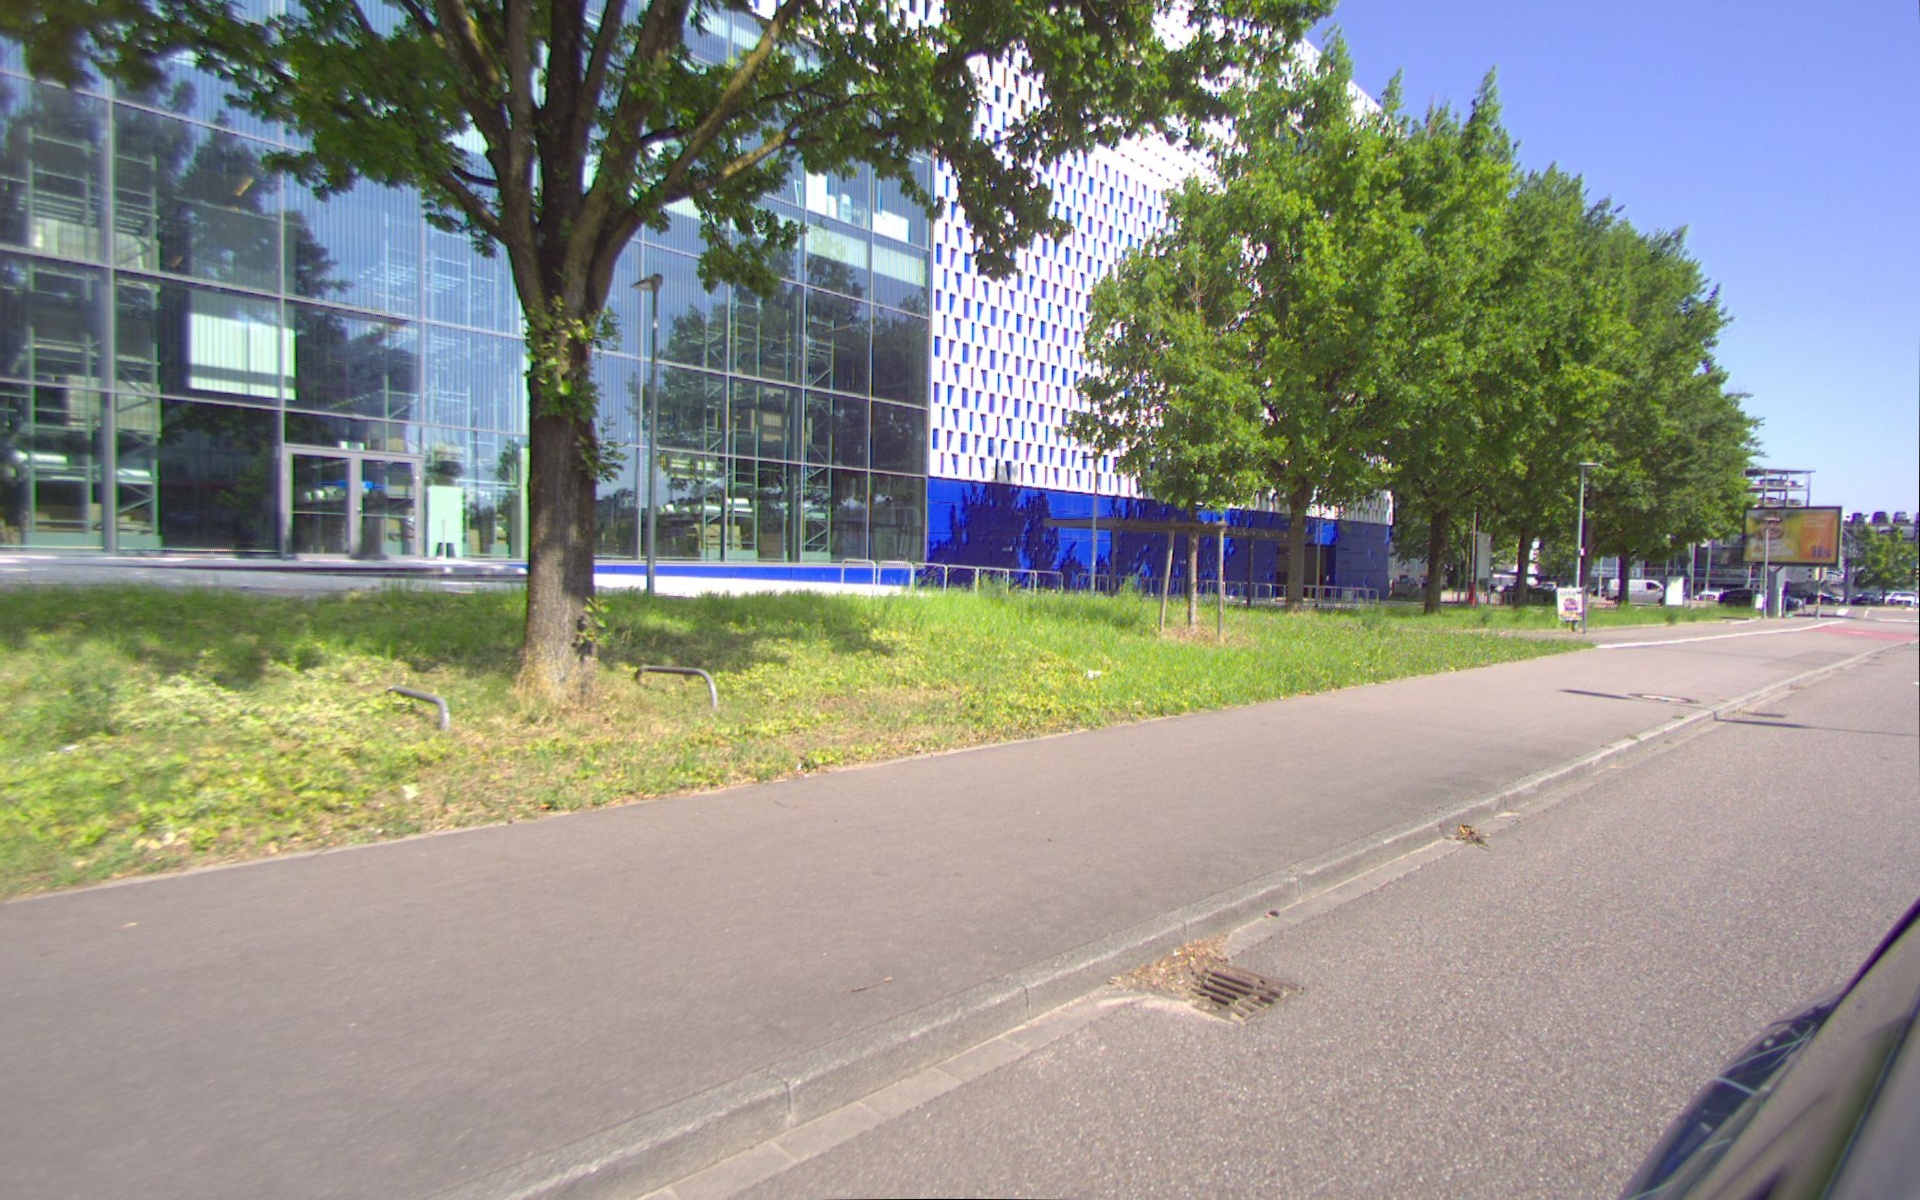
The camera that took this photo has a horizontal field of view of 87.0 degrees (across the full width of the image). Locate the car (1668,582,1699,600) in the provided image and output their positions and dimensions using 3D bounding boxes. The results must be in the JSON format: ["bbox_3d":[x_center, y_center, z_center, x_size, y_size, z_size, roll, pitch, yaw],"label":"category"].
[{"bbox_3d":[67.685,-0.853,94.653,1.882,1.565,3.828,3,2,43],"label":"car"}]

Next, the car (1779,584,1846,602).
[{"bbox_3d":[74.525,-0.605,88.487,4.339,1.366,1.793,3,3,44],"label":"car"}]

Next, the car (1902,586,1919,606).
[{"bbox_3d":[79.095,-0.335,83.191,3.929,1.478,1.887,-2,3,-40],"label":"car"}]

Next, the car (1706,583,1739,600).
[{"bbox_3d":[69.659,-0.750,92.442,1.998,1.439,4.051,2,1,42],"label":"car"}]

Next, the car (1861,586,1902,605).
[{"bbox_3d":[77.280,-0.408,84.839,3.929,1.479,1.998,0,2,-40],"label":"car"}]

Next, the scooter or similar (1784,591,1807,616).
[{"bbox_3d":[41.412,0.155,50.159,1.160,1.181,0.403,-1,2,-28],"label":"scooter or similar"}]

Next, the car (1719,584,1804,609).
[{"bbox_3d":[55.630,-0.269,70.258,4.490,1.647,1.689,2,3,44],"label":"car"}]

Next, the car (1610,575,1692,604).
[{"bbox_3d":[52.990,-0.863,77.694,4.986,2.032,1.714,3,4,44],"label":"car"}]
